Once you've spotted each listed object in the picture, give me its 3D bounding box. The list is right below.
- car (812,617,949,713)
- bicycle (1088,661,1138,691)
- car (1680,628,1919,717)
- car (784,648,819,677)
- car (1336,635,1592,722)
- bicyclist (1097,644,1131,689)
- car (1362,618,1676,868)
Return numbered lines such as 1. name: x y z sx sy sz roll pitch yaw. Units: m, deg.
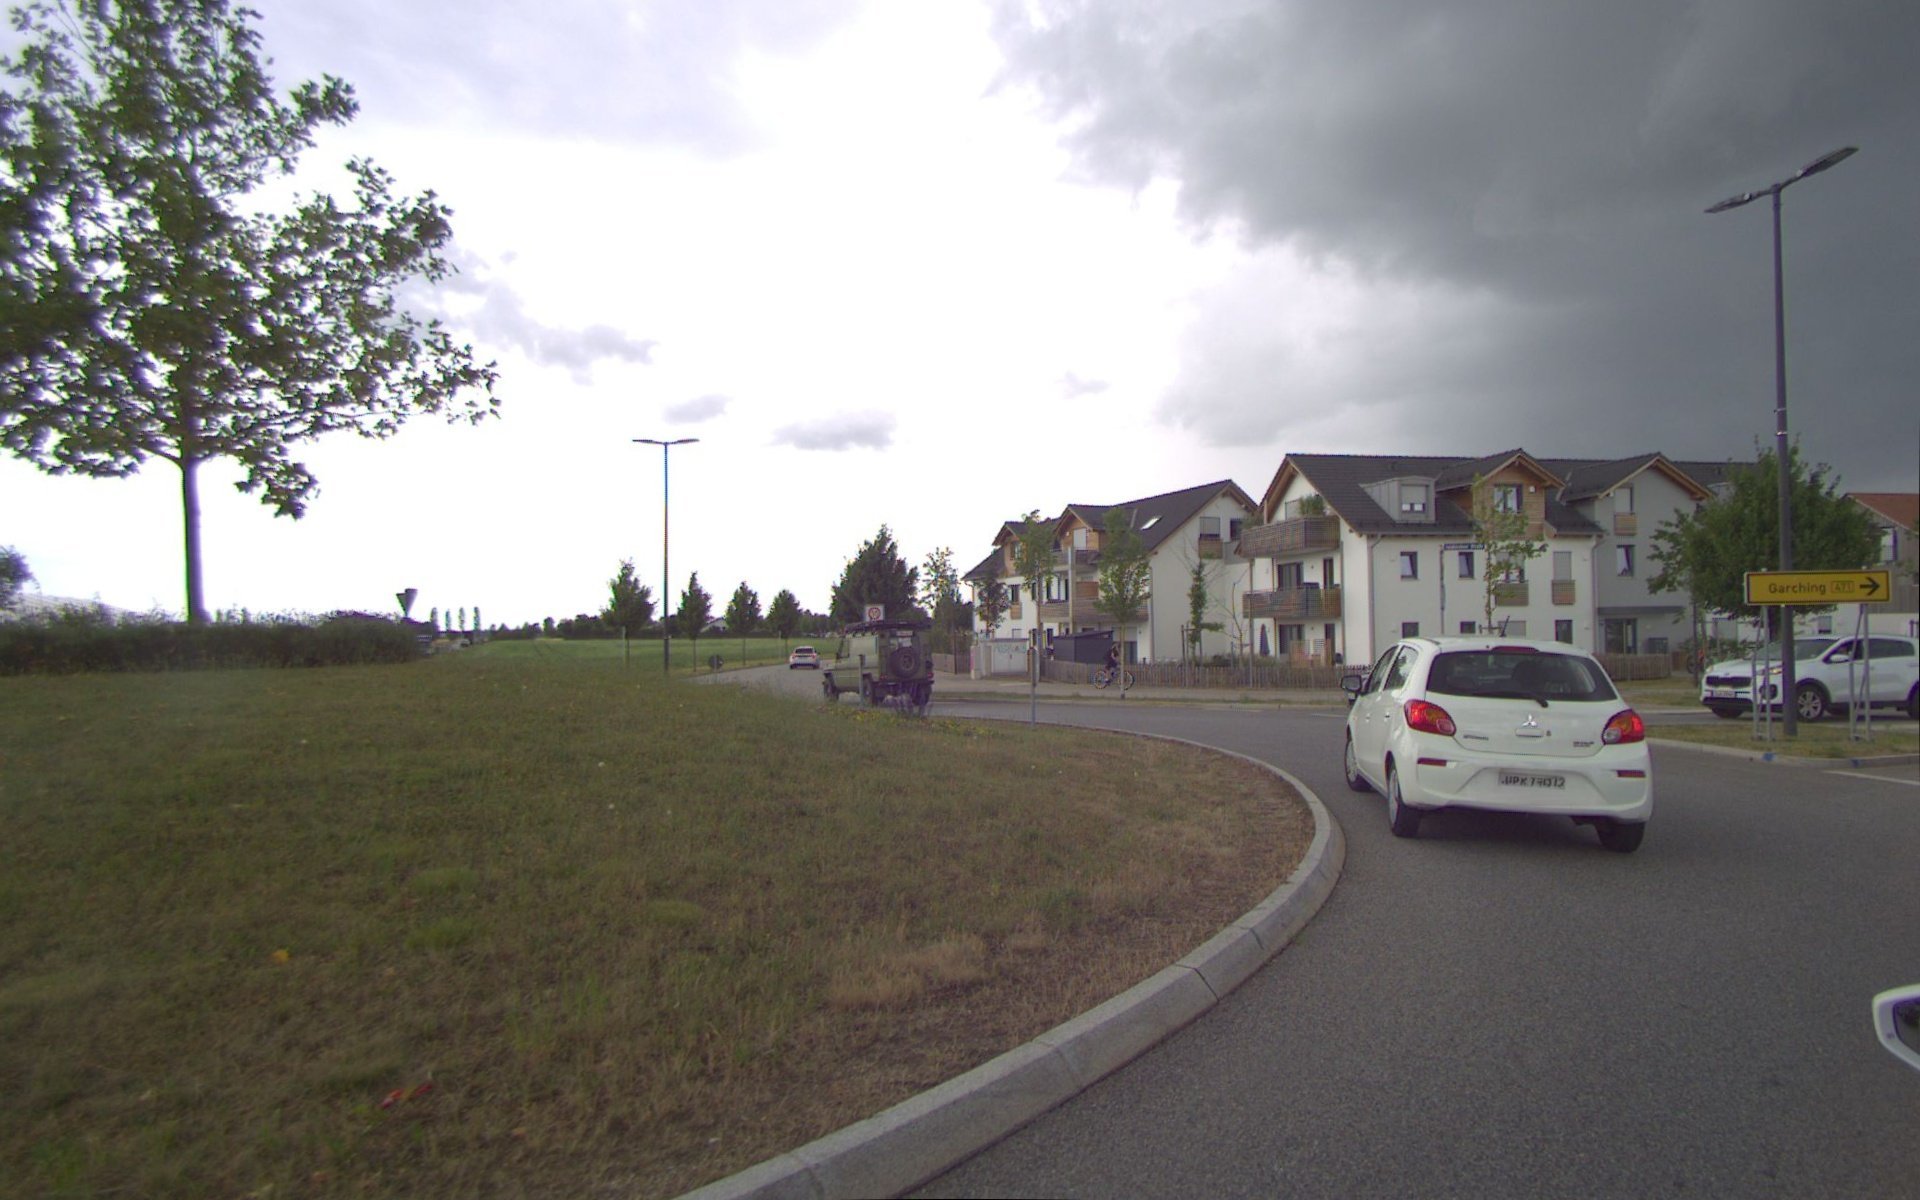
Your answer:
1. car: -2.318 1.694 27.884 1.976 2.284 4.536 -4 1 -29
2. bicycle: 5.118 2.534 33.691 1.691 0.958 0.494 -3 -4 44
3. car: 16.853 1.407 19.737 4.368 1.647 1.713 0 -3 -8
4. car: -10.080 3.932 63.996 1.823 1.661 3.998 1 -1 -4
5. car: 10.001 1.562 20.211 4.193 1.584 1.775 -2 -3 6
6. bicyclist: 5.161 2.227 33.699 0.858 1.465 0.720 -3 -3 44
7. car: 4.233 0.926 8.133 1.600 1.539 3.400 0 -1 18
